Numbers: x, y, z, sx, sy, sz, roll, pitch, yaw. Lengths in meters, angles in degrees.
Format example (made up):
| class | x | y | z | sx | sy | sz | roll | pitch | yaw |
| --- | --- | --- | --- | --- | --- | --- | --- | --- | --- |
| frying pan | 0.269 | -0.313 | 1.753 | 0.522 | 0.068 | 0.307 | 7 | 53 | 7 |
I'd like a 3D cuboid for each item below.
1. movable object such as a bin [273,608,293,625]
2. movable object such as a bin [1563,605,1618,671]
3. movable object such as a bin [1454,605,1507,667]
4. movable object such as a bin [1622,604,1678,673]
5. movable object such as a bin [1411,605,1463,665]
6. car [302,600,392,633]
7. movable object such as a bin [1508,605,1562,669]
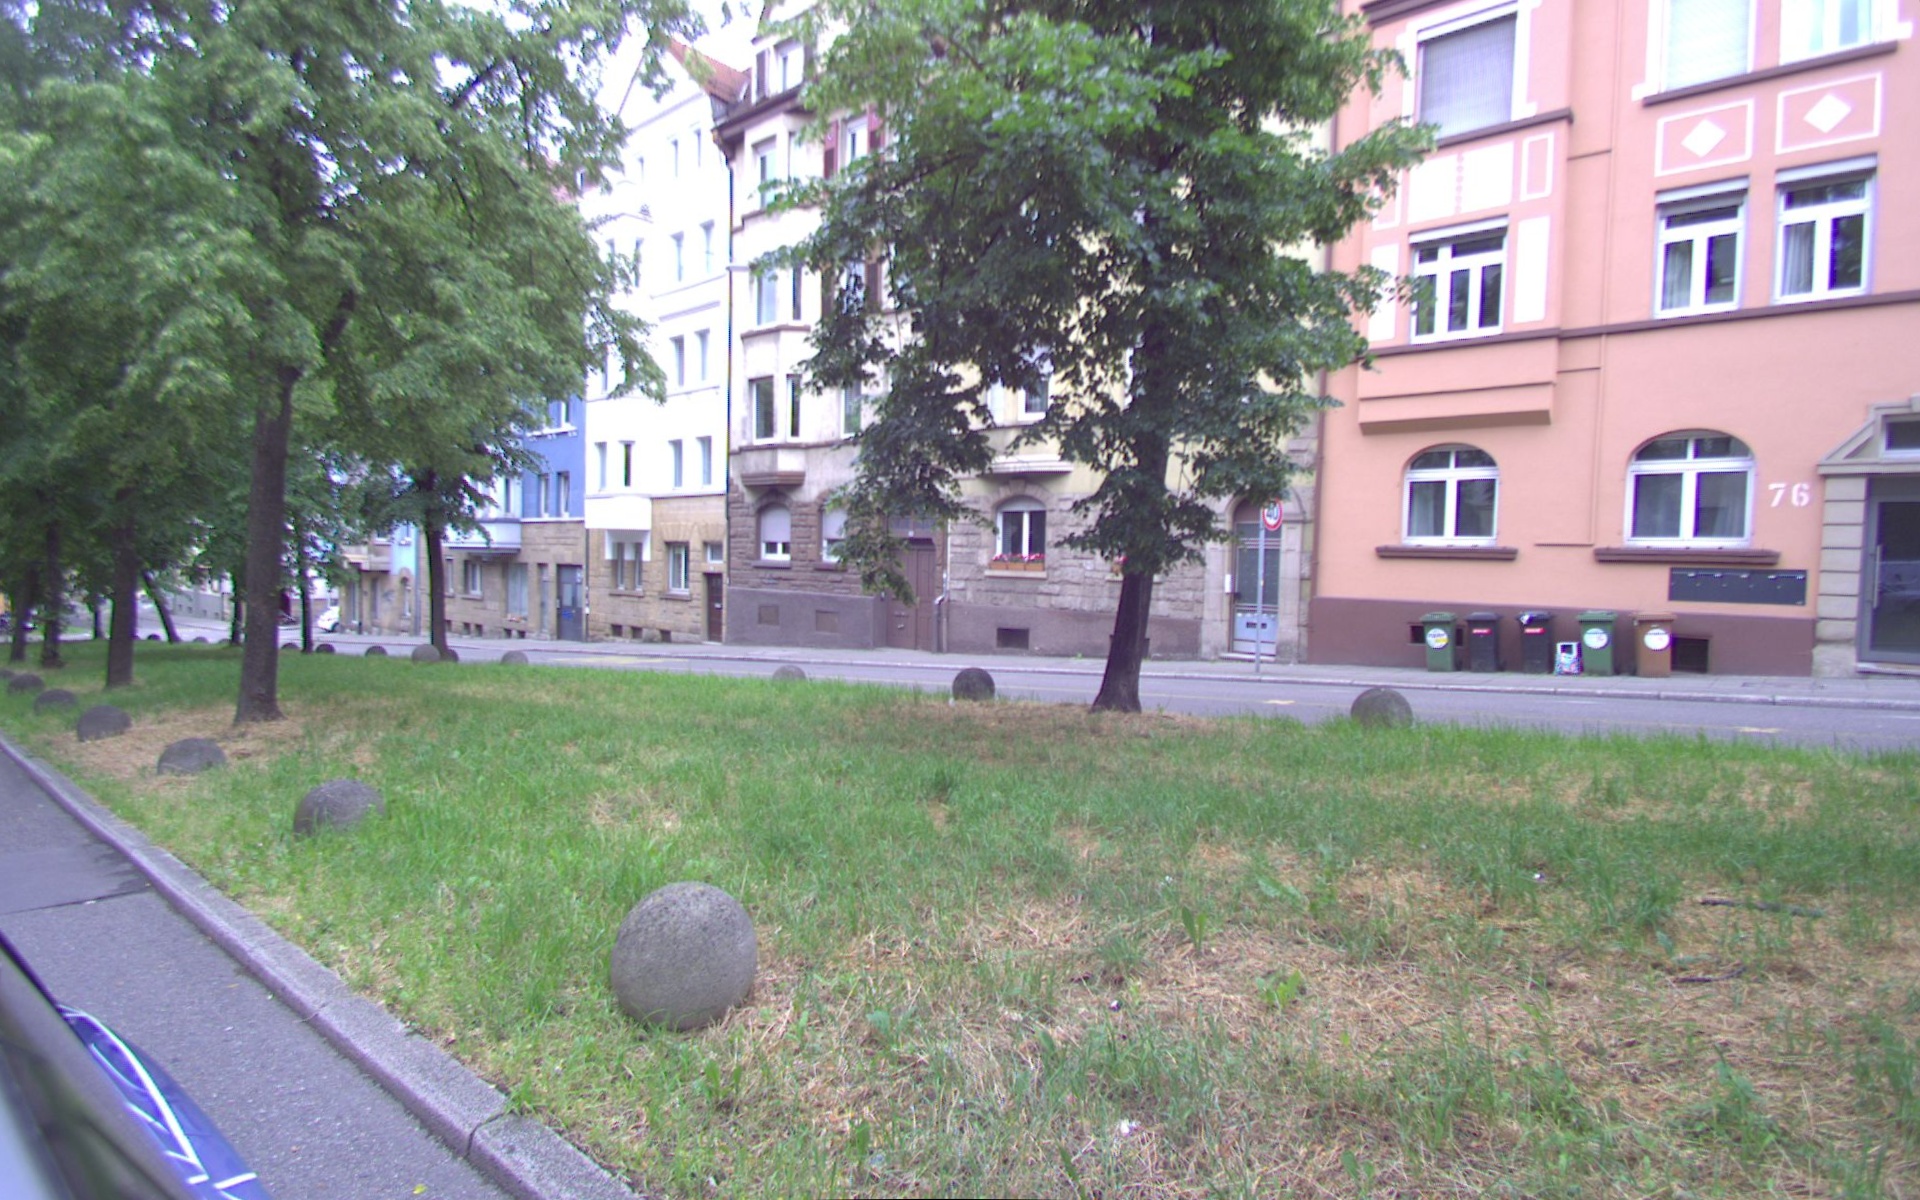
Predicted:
| class | x | y | z | sx | sy | sz | roll | pitch | yaw |
| --- | --- | --- | --- | --- | --- | --- | --- | --- | --- |
| movable object such as a bin | -41.837 | 1.035 | 62.529 | 0.668 | 1.001 | 0.876 | 0 | 3 | 40 |
| movable object such as a bin | 9.105 | 0.535 | 14.610 | 0.601 | 0.911 | 0.603 | -1 | 1 | 38 |
| movable object such as a bin | 8.047 | 0.547 | 15.642 | 0.601 | 0.911 | 0.603 | -1 | 1 | 38 |
| movable object such as a bin | 9.634 | 0.525 | 14.131 | 0.601 | 0.911 | 0.603 | -1 | 1 | 38 |
| movable object such as a bin | 7.578 | 0.550 | 16.071 | 0.601 | 0.911 | 0.603 | -1 | 1 | 38 |
| car | -35.460 | 0.914 | 58.614 | 1.870 | 1.480 | 3.959 | 2 | 6 | 39 |
| movable object such as a bin | 8.602 | 0.541 | 15.136 | 0.601 | 0.911 | 0.603 | -1 | 1 | 38 |
